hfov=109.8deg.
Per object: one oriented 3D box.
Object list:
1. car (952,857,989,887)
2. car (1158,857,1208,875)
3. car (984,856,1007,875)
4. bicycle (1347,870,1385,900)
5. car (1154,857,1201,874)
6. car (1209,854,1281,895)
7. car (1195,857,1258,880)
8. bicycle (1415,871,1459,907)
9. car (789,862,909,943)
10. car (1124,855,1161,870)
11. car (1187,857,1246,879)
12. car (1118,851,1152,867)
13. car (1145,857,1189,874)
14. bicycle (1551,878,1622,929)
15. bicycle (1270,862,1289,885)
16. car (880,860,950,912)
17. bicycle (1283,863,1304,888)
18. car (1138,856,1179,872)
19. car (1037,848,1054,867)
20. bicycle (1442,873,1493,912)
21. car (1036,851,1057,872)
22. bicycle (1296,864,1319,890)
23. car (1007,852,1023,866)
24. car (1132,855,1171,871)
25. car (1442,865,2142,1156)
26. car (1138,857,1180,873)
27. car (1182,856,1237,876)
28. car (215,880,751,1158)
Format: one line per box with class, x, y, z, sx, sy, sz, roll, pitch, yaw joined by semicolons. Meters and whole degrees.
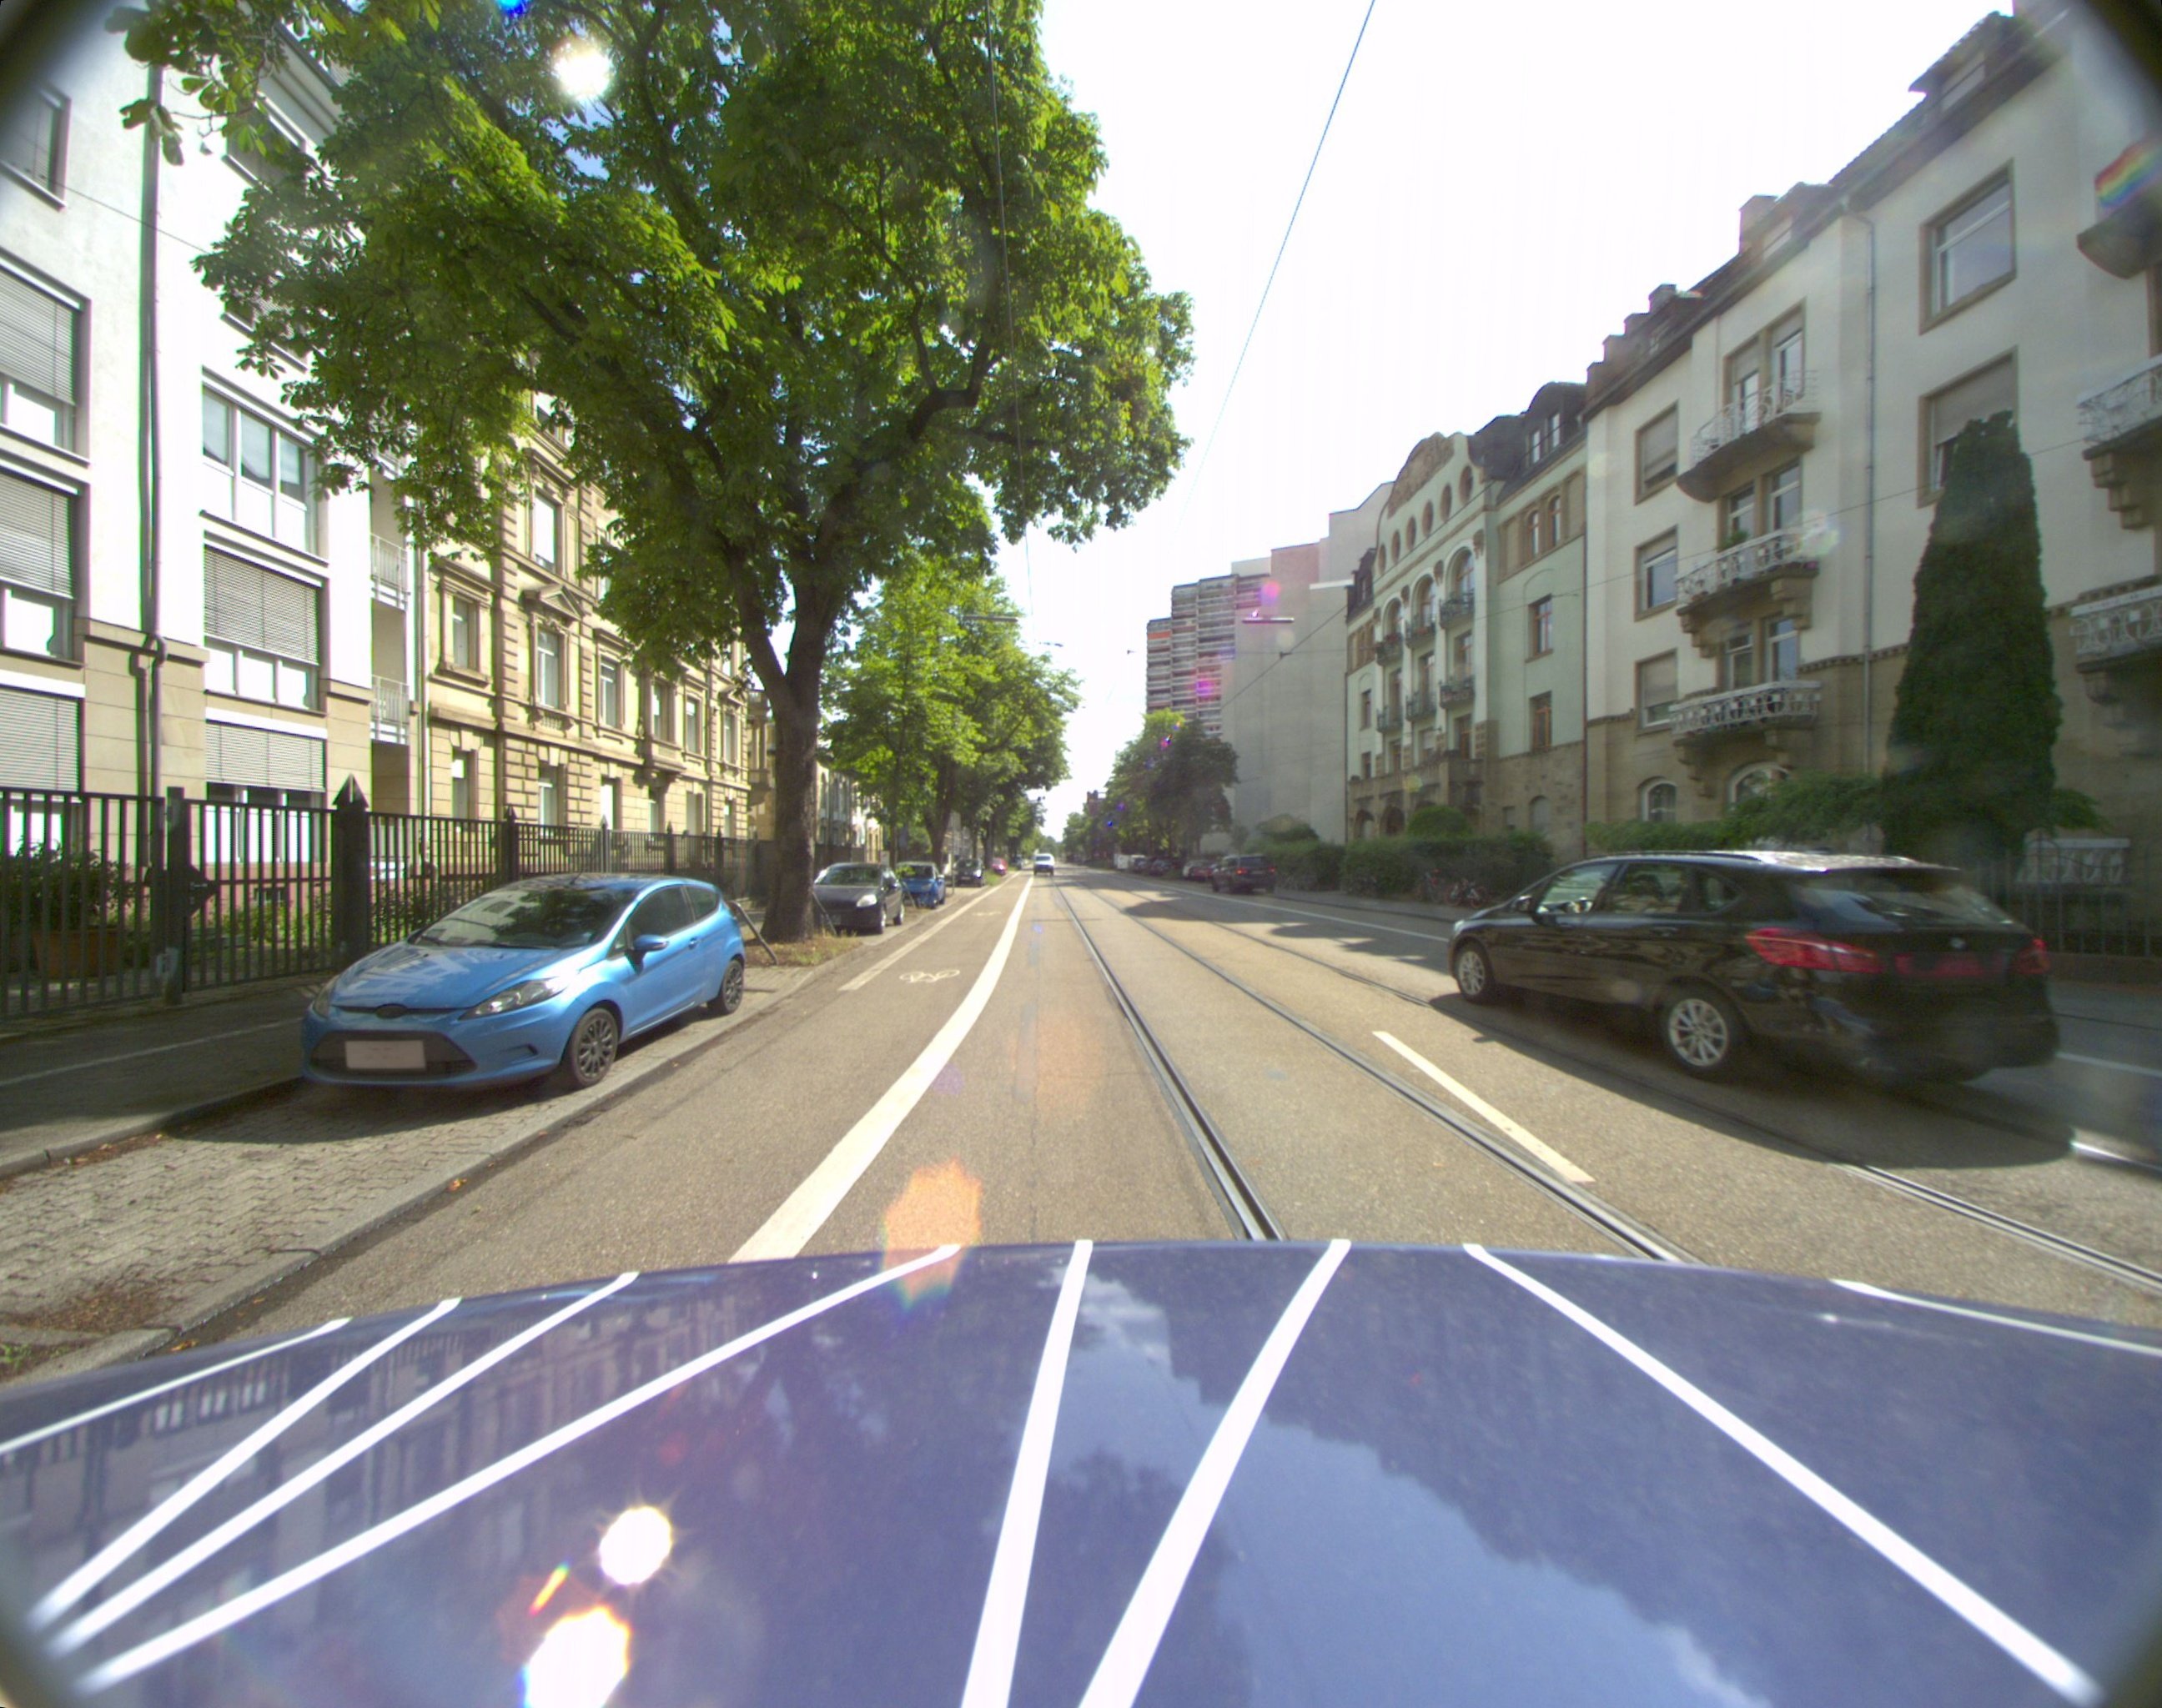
car;-6.254;0.971;43.420;1.744;1.564;3.659;3;0;-4
car;8.465;0.980;63.011;3.994;1.499;2.001;0;0;8
car;-7.465;0.982;66.376;1.744;1.564;3.928;3;0;-4
bicycle;10.093;1.071;26.972;0.605;0.990;1.981;0;0;-1
car;8.366;0.993;66.167;3.994;1.499;2.001;0;0;8
car;7.234;0.858;33.942;1.922;1.685;4.400;0;0;-5
car;9.514;0.950;49.907;3.994;1.499;2.001;0;0;8
bicycle;10.684;1.036;22.885;0.468;0.990;1.787;0;0;-1
car;-4.927;0.974;16.629;1.679;1.467;3.659;3;0;-4
car;6.781;0.907;83.554;3.994;1.672;2.001;0;0;8
car;9.477;0.960;53.415;3.994;1.499;2.001;0;0;8
car;6.358;0.569;89.389;1.994;1.740;4.008;-1;1;41
car;7.865;1.032;69.286;3.994;1.499;2.001;0;0;8
bicycle;10.940;1.053;16.503;0.467;0.990;1.787;0;0;5
bicycle;9.952;0.961;38.122;0.468;1.128;1.787;0;0;-1
car;-5.341;0.995;24.843;1.679;1.467;3.659;3;0;-4
bicycle;10.053;1.005;36.025;0.468;1.128;1.787;0;0;-1
car;7.784;1.005;75.656;3.994;1.499;2.001;0;0;8
car;-4.790;0.454;102.842;2.146;2.568;4.817;0;0;-2
bicycle;10.647;1.042;20.987;0.468;0.990;1.787;0;0;-1
car;-3.261;0.675;72.290;1.974;1.901;4.817;0;0;-2
bicycle;10.136;1.025;34.083;0.468;1.128;1.787;0;0;-1
car;-7.891;0.566;91.049;1.744;1.564;3.928;3;0;-4
car;7.365;0.924;79.129;3.994;1.672;2.001;0;0;8
car;4.868;0.874;6.179;1.760;1.509;4.067;0;0;-3
car;7.458;1.006;72.495;3.994;1.499;2.001;0;0;8
car;9.610;0.877;56.964;3.994;1.499;2.001;0;0;8
car;-4.325;1.050;6.331;1.647;1.467;3.660;3;0;-3
